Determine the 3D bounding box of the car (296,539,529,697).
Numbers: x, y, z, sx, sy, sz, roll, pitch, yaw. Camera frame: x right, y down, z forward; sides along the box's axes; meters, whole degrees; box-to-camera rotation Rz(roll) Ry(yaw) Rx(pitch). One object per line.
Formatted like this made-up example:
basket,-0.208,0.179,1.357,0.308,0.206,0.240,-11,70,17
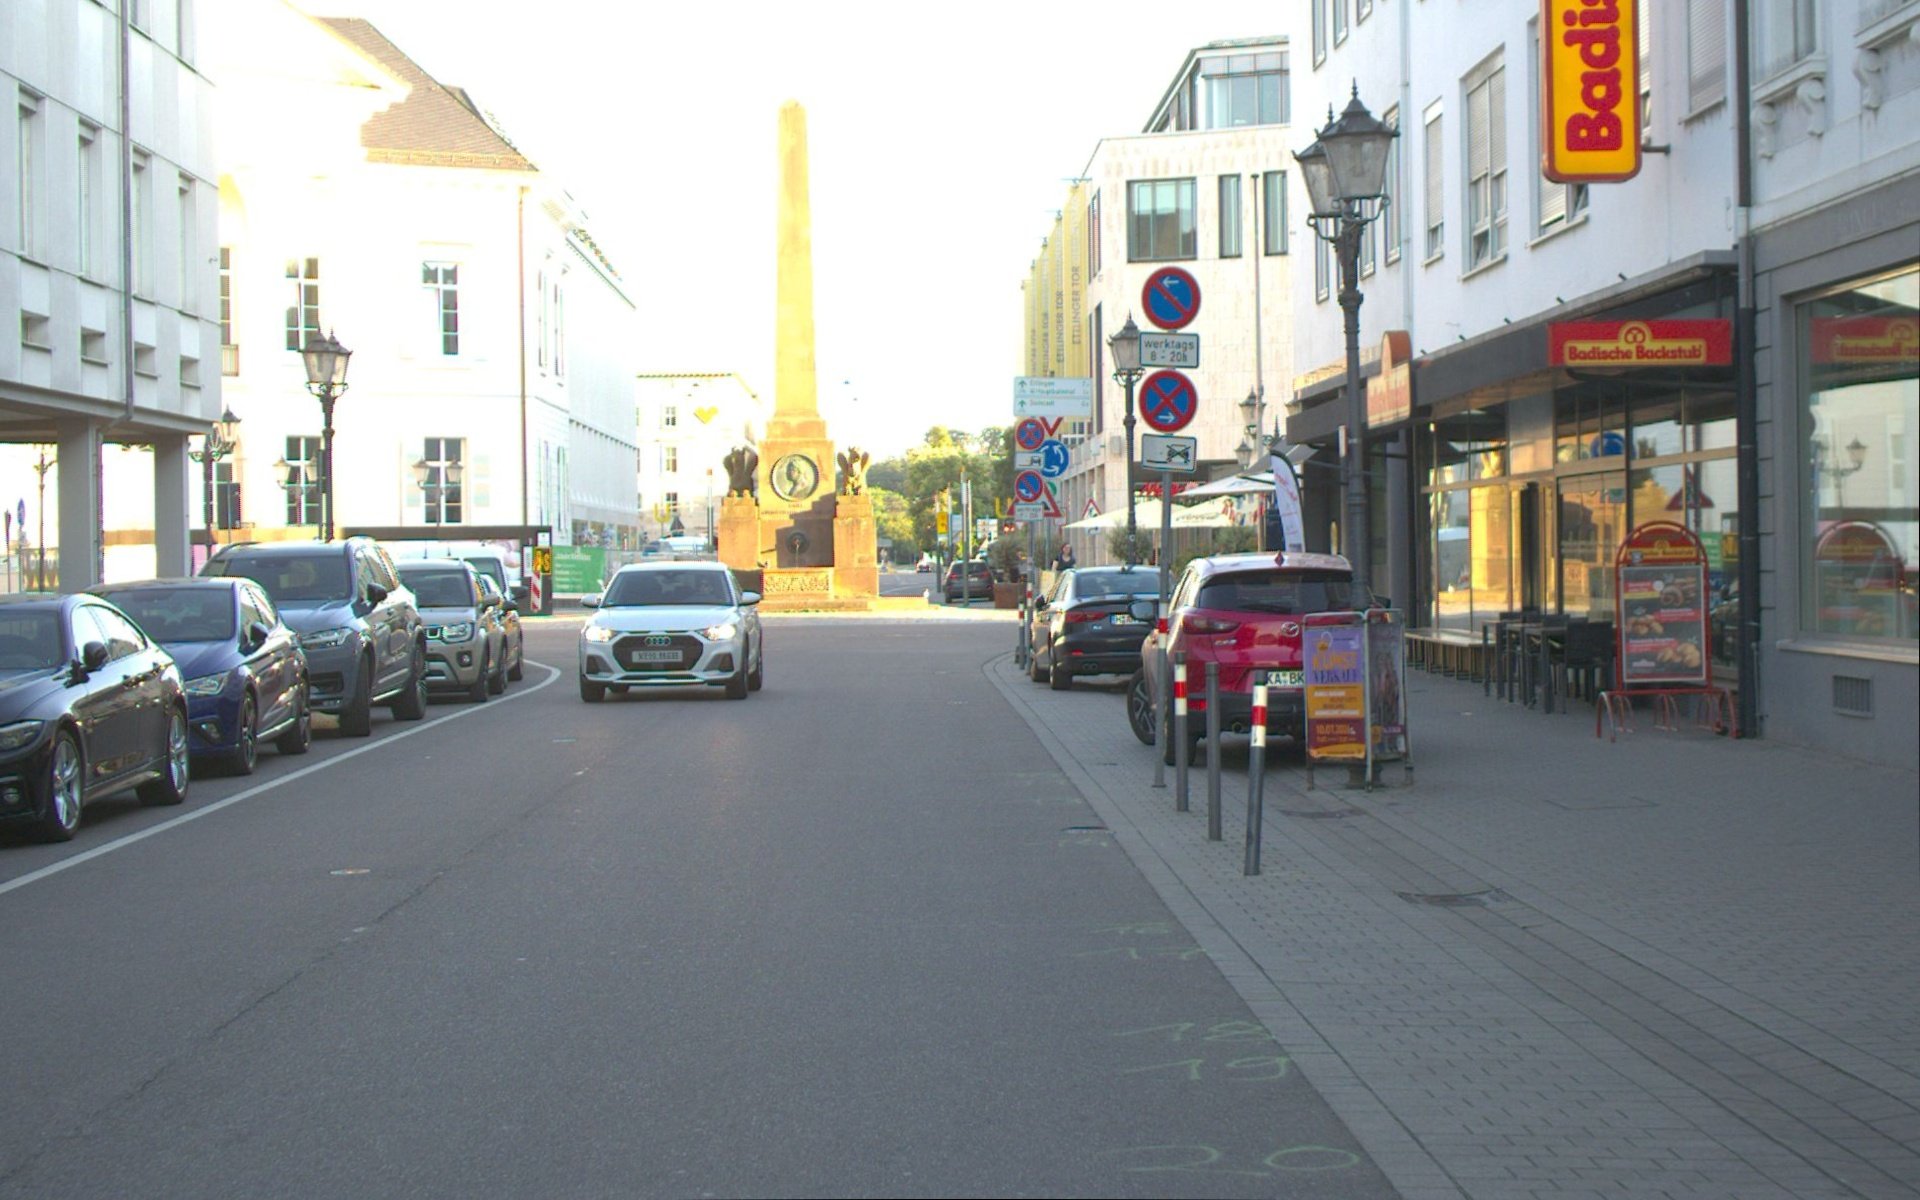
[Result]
car,-6.023,0.160,38.250,1.993,1.656,4.000,0,1,-1

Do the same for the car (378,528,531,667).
car,-6.994,-0.069,47.692,1.993,1.809,4.785,0,1,-8

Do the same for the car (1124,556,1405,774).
car,2.232,0.436,26.051,1.759,1.518,3.677,0,1,-1

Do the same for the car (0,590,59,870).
car,-5.763,0.690,16.518,1.785,1.404,4.088,-1,1,0

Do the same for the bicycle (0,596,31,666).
bicycle,-14.198,0.445,50.194,0.733,0.980,2.336,0,1,-2

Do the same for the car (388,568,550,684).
car,-6.073,0.293,42.863,1.677,1.349,4.106,0,1,-4

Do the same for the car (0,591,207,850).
car,-5.921,0.647,20.551,1.993,1.349,4.000,0,1,-1

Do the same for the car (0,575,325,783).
car,-6.010,0.542,26.254,1.673,1.395,4.000,-1,1,-2

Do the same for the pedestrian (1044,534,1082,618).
pedestrian,2.051,-0.485,68.414,0.690,1.642,0.696,-1,1,-1

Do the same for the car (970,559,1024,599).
car,1.380,-0.822,130.033,1.993,1.459,4.000,-1,1,0

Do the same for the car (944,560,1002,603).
car,0.475,-0.668,121.555,1.993,1.459,4.000,-1,1,0

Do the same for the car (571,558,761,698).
car,-3.144,0.262,37.420,1.764,1.417,4.000,0,1,-1

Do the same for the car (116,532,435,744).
car,-6.117,0.288,31.247,1.993,1.722,4.516,-2,1,-1

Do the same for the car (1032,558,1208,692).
car,1.805,0.247,39.897,1.801,1.459,4.117,0,1,-1
